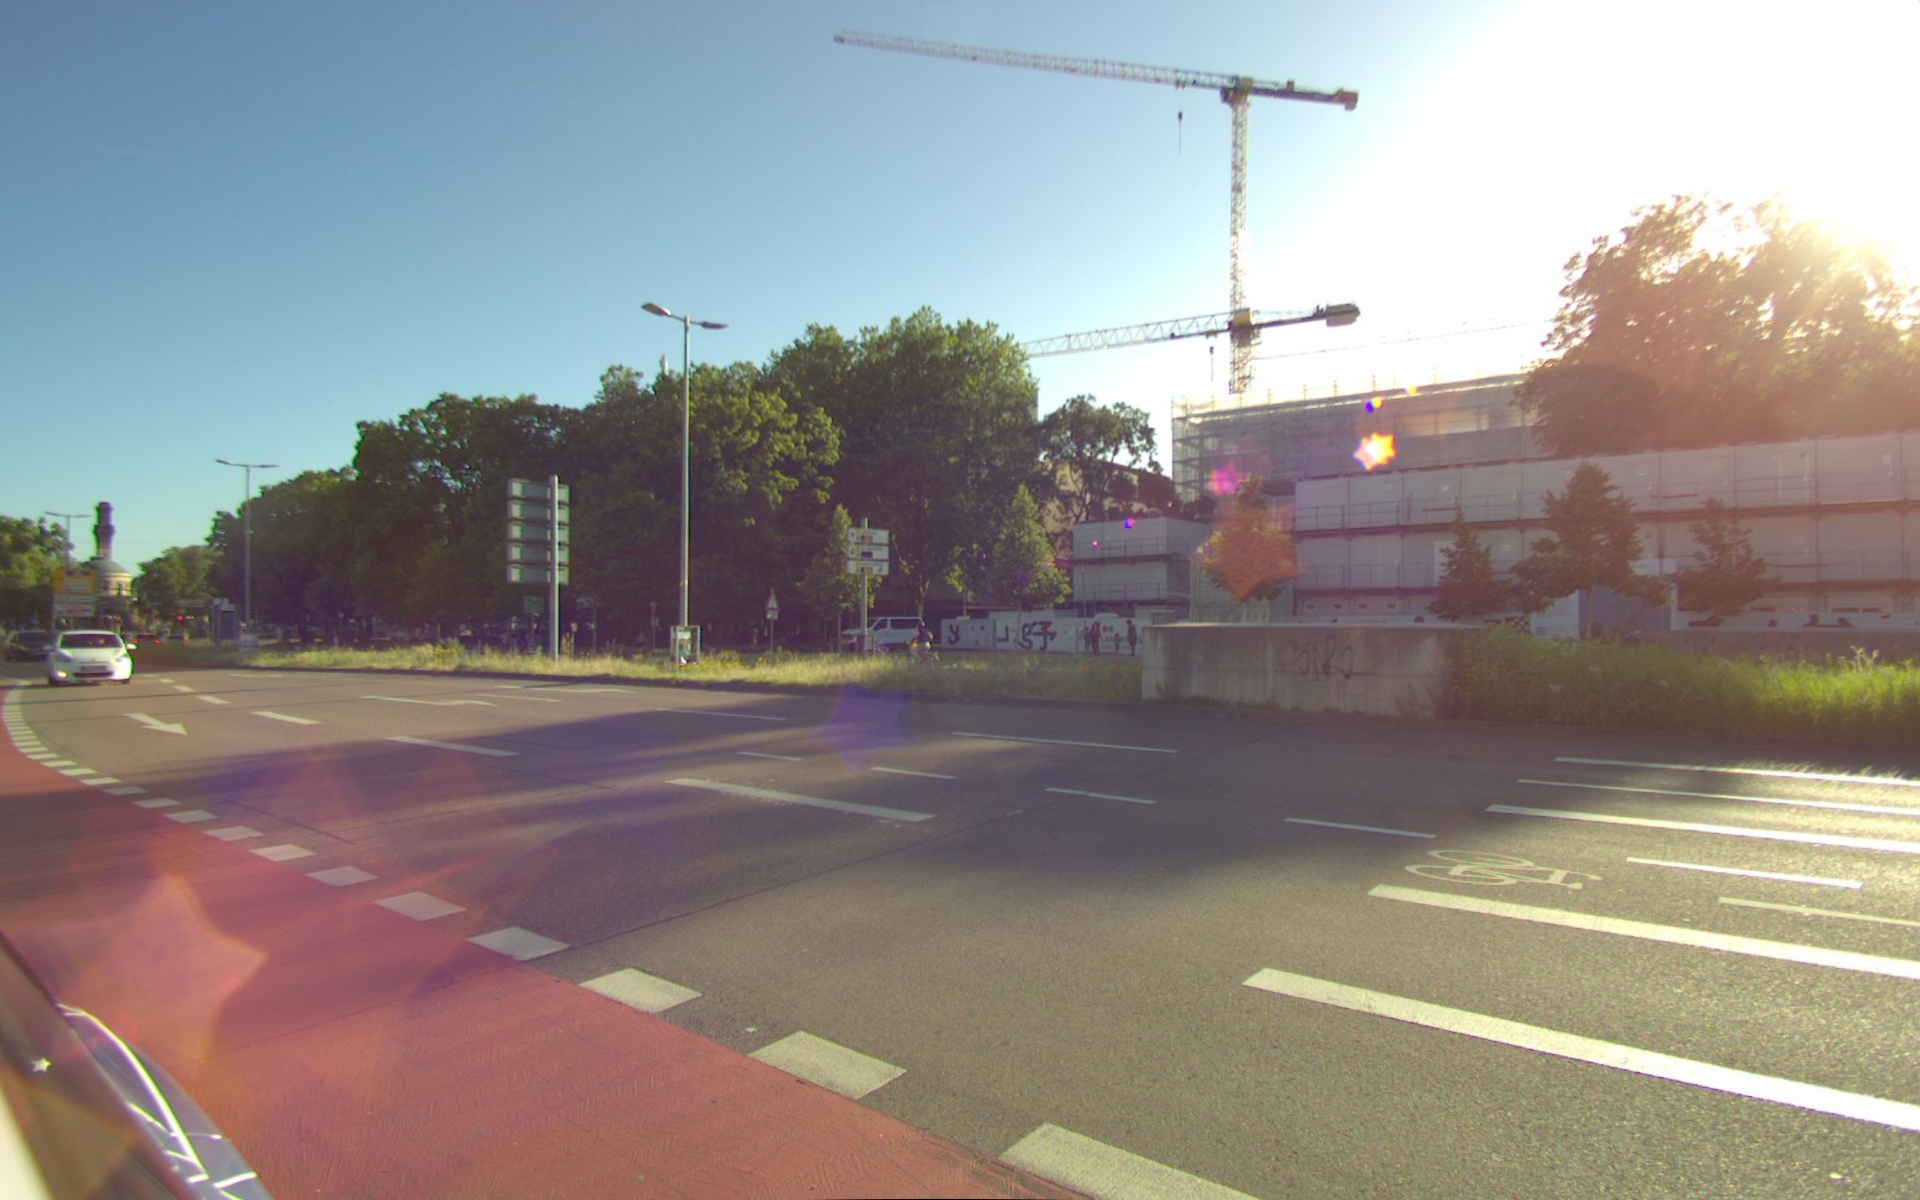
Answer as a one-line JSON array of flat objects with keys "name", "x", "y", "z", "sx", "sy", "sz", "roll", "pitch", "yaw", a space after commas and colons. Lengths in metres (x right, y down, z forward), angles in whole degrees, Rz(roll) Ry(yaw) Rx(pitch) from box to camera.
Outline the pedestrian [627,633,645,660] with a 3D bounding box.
[{"name": "pedestrian", "x": -18.644, "y": 2.698, "z": 58.257, "sx": 0.942, "sy": 1.539, "sz": 0.606, "roll": -2, "pitch": -3, "yaw": 44}]

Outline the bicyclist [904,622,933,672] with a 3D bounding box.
[{"name": "bicyclist", "x": -1.274, "y": 1.441, "z": 31.206, "sx": 0.681, "sy": 1.500, "sz": 0.600, "roll": -2, "pitch": -3, "yaw": 44}]

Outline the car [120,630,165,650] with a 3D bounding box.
[{"name": "car", "x": -64.818, "y": 3.147, "z": 80.249, "sx": 4.056, "sy": 1.576, "sz": 1.974, "roll": -1, "pitch": -2, "yaw": 39}]

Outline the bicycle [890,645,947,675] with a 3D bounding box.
[{"name": "bicycle", "x": -1.294, "y": 1.837, "z": 31.204, "sx": 1.951, "sy": 0.868, "sz": 0.605, "roll": -2, "pitch": -3, "yaw": 45}]

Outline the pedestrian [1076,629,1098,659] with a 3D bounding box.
[{"name": "pedestrian", "x": 5.950, "y": 2.046, "z": 47.529, "sx": 0.834, "sy": 1.388, "sz": 0.574, "roll": -2, "pitch": -3, "yaw": 37}]

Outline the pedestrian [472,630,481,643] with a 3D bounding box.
[{"name": "pedestrian", "x": -52.908, "y": 4.013, "z": 110.753, "sx": 0.599, "sy": 1.350, "sz": 0.723, "roll": -2, "pitch": -3, "yaw": 42}]

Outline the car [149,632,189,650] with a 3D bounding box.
[{"name": "car", "x": -72.080, "y": 3.740, "z": 92.218, "sx": 4.583, "sy": 1.538, "sz": 1.914, "roll": -2, "pitch": -2, "yaw": 40}]

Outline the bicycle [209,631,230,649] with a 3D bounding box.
[{"name": "bicycle", "x": -56.886, "y": 3.094, "z": 77.731, "sx": 2.256, "sy": 1.285, "sz": 0.750, "roll": 1, "pitch": -2, "yaw": 39}]

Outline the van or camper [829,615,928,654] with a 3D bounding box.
[{"name": "van or camper", "x": -4.551, "y": 1.956, "z": 57.221, "sx": 2.256, "sy": 2.029, "sz": 5.605, "roll": 1, "pitch": -2, "yaw": 40}]

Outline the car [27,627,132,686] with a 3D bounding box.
[{"name": "car", "x": -24.159, "y": 1.505, "z": 27.740, "sx": 3.763, "sy": 1.475, "sz": 1.657, "roll": -1, "pitch": -1, "yaw": 41}]

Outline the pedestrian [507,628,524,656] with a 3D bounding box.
[{"name": "pedestrian", "x": -28.804, "y": 2.714, "z": 65.603, "sx": 0.760, "sy": 1.754, "sz": 0.763, "roll": -2, "pitch": -3, "yaw": 43}]

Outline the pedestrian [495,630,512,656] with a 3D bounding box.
[{"name": "pedestrian", "x": -29.299, "y": 2.724, "z": 64.966, "sx": 0.726, "sy": 1.653, "sz": 0.734, "roll": -2, "pitch": -3, "yaw": 43}]

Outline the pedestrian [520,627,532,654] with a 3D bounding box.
[{"name": "pedestrian", "x": -28.373, "y": 2.664, "z": 66.156, "sx": 0.655, "sy": 1.754, "sz": 0.518, "roll": -2, "pitch": -3, "yaw": 43}]

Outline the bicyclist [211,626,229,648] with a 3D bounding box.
[{"name": "bicyclist", "x": -56.788, "y": 2.850, "z": 77.666, "sx": 1.201, "sy": 1.602, "sz": 0.739, "roll": 1, "pitch": -2, "yaw": 39}]

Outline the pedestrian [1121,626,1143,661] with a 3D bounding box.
[{"name": "pedestrian", "x": 8.397, "y": 2.119, "z": 49.422, "sx": 0.834, "sy": 1.701, "sz": 0.574, "roll": -2, "pitch": -3, "yaw": 37}]

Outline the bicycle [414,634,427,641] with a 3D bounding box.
[{"name": "bicycle", "x": -66.557, "y": 4.615, "z": 124.815, "sx": 1.600, "sy": 0.896, "sz": 0.762, "roll": -1, "pitch": -2, "yaw": 31}]

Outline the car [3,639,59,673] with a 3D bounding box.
[{"name": "car", "x": -49.454, "y": 2.937, "z": 53.861, "sx": 3.997, "sy": 1.651, "sz": 1.711, "roll": -1, "pitch": -1, "yaw": 40}]

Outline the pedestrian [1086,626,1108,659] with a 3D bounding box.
[{"name": "pedestrian", "x": 6.500, "y": 2.014, "z": 47.934, "sx": 0.834, "sy": 1.570, "sz": 0.574, "roll": -2, "pitch": -3, "yaw": 37}]
